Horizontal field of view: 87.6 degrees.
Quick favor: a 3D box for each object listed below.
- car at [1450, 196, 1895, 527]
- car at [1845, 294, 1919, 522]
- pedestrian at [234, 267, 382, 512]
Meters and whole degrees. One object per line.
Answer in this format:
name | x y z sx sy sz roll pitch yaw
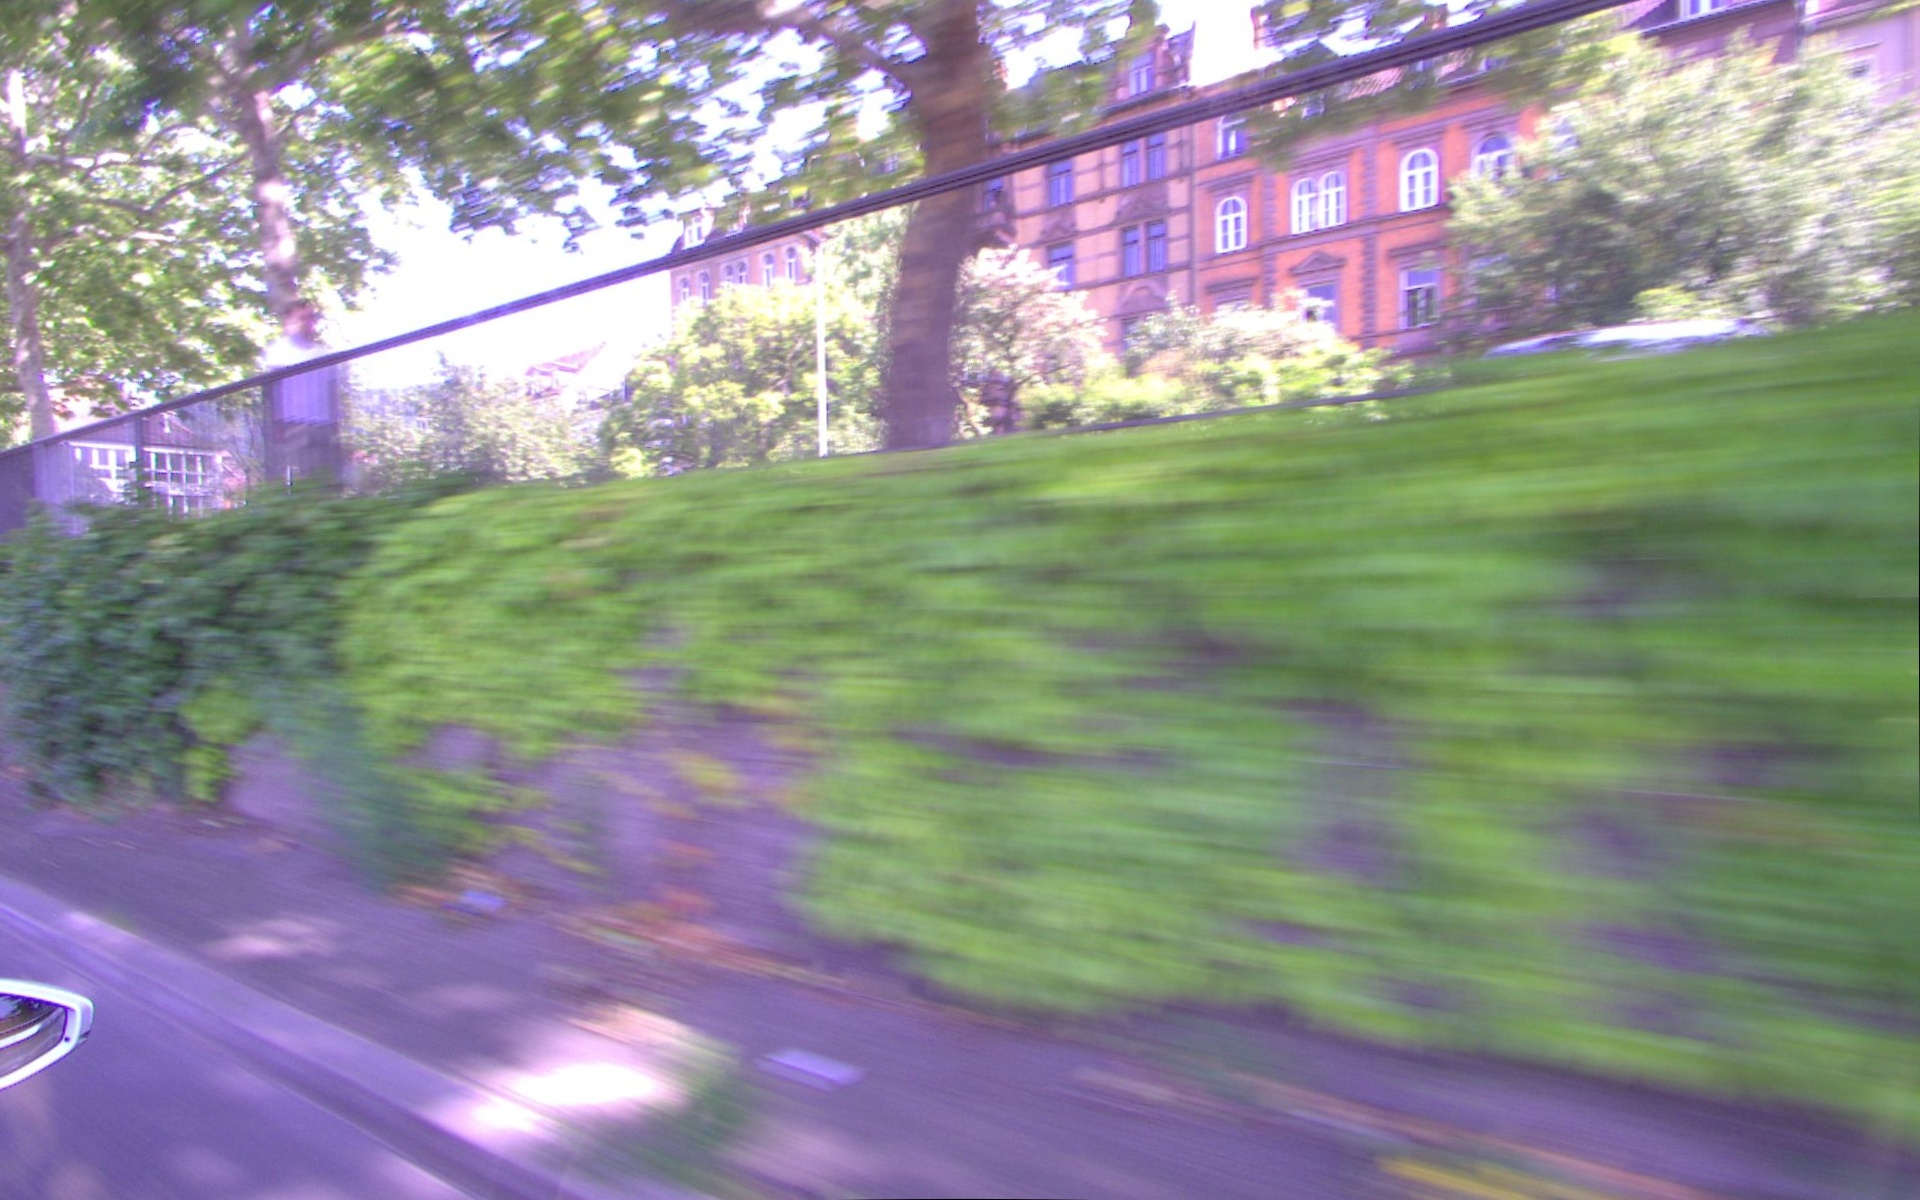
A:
car | 4.017 -1.118 6.124 1.626 1.130 3.724 0 1 29
car | 5.643 -1.059 4.649 1.626 1.130 3.723 0 1 31
pedestrian | -4.776 -1.485 7.348 0.641 1.613 0.663 0 2 32
